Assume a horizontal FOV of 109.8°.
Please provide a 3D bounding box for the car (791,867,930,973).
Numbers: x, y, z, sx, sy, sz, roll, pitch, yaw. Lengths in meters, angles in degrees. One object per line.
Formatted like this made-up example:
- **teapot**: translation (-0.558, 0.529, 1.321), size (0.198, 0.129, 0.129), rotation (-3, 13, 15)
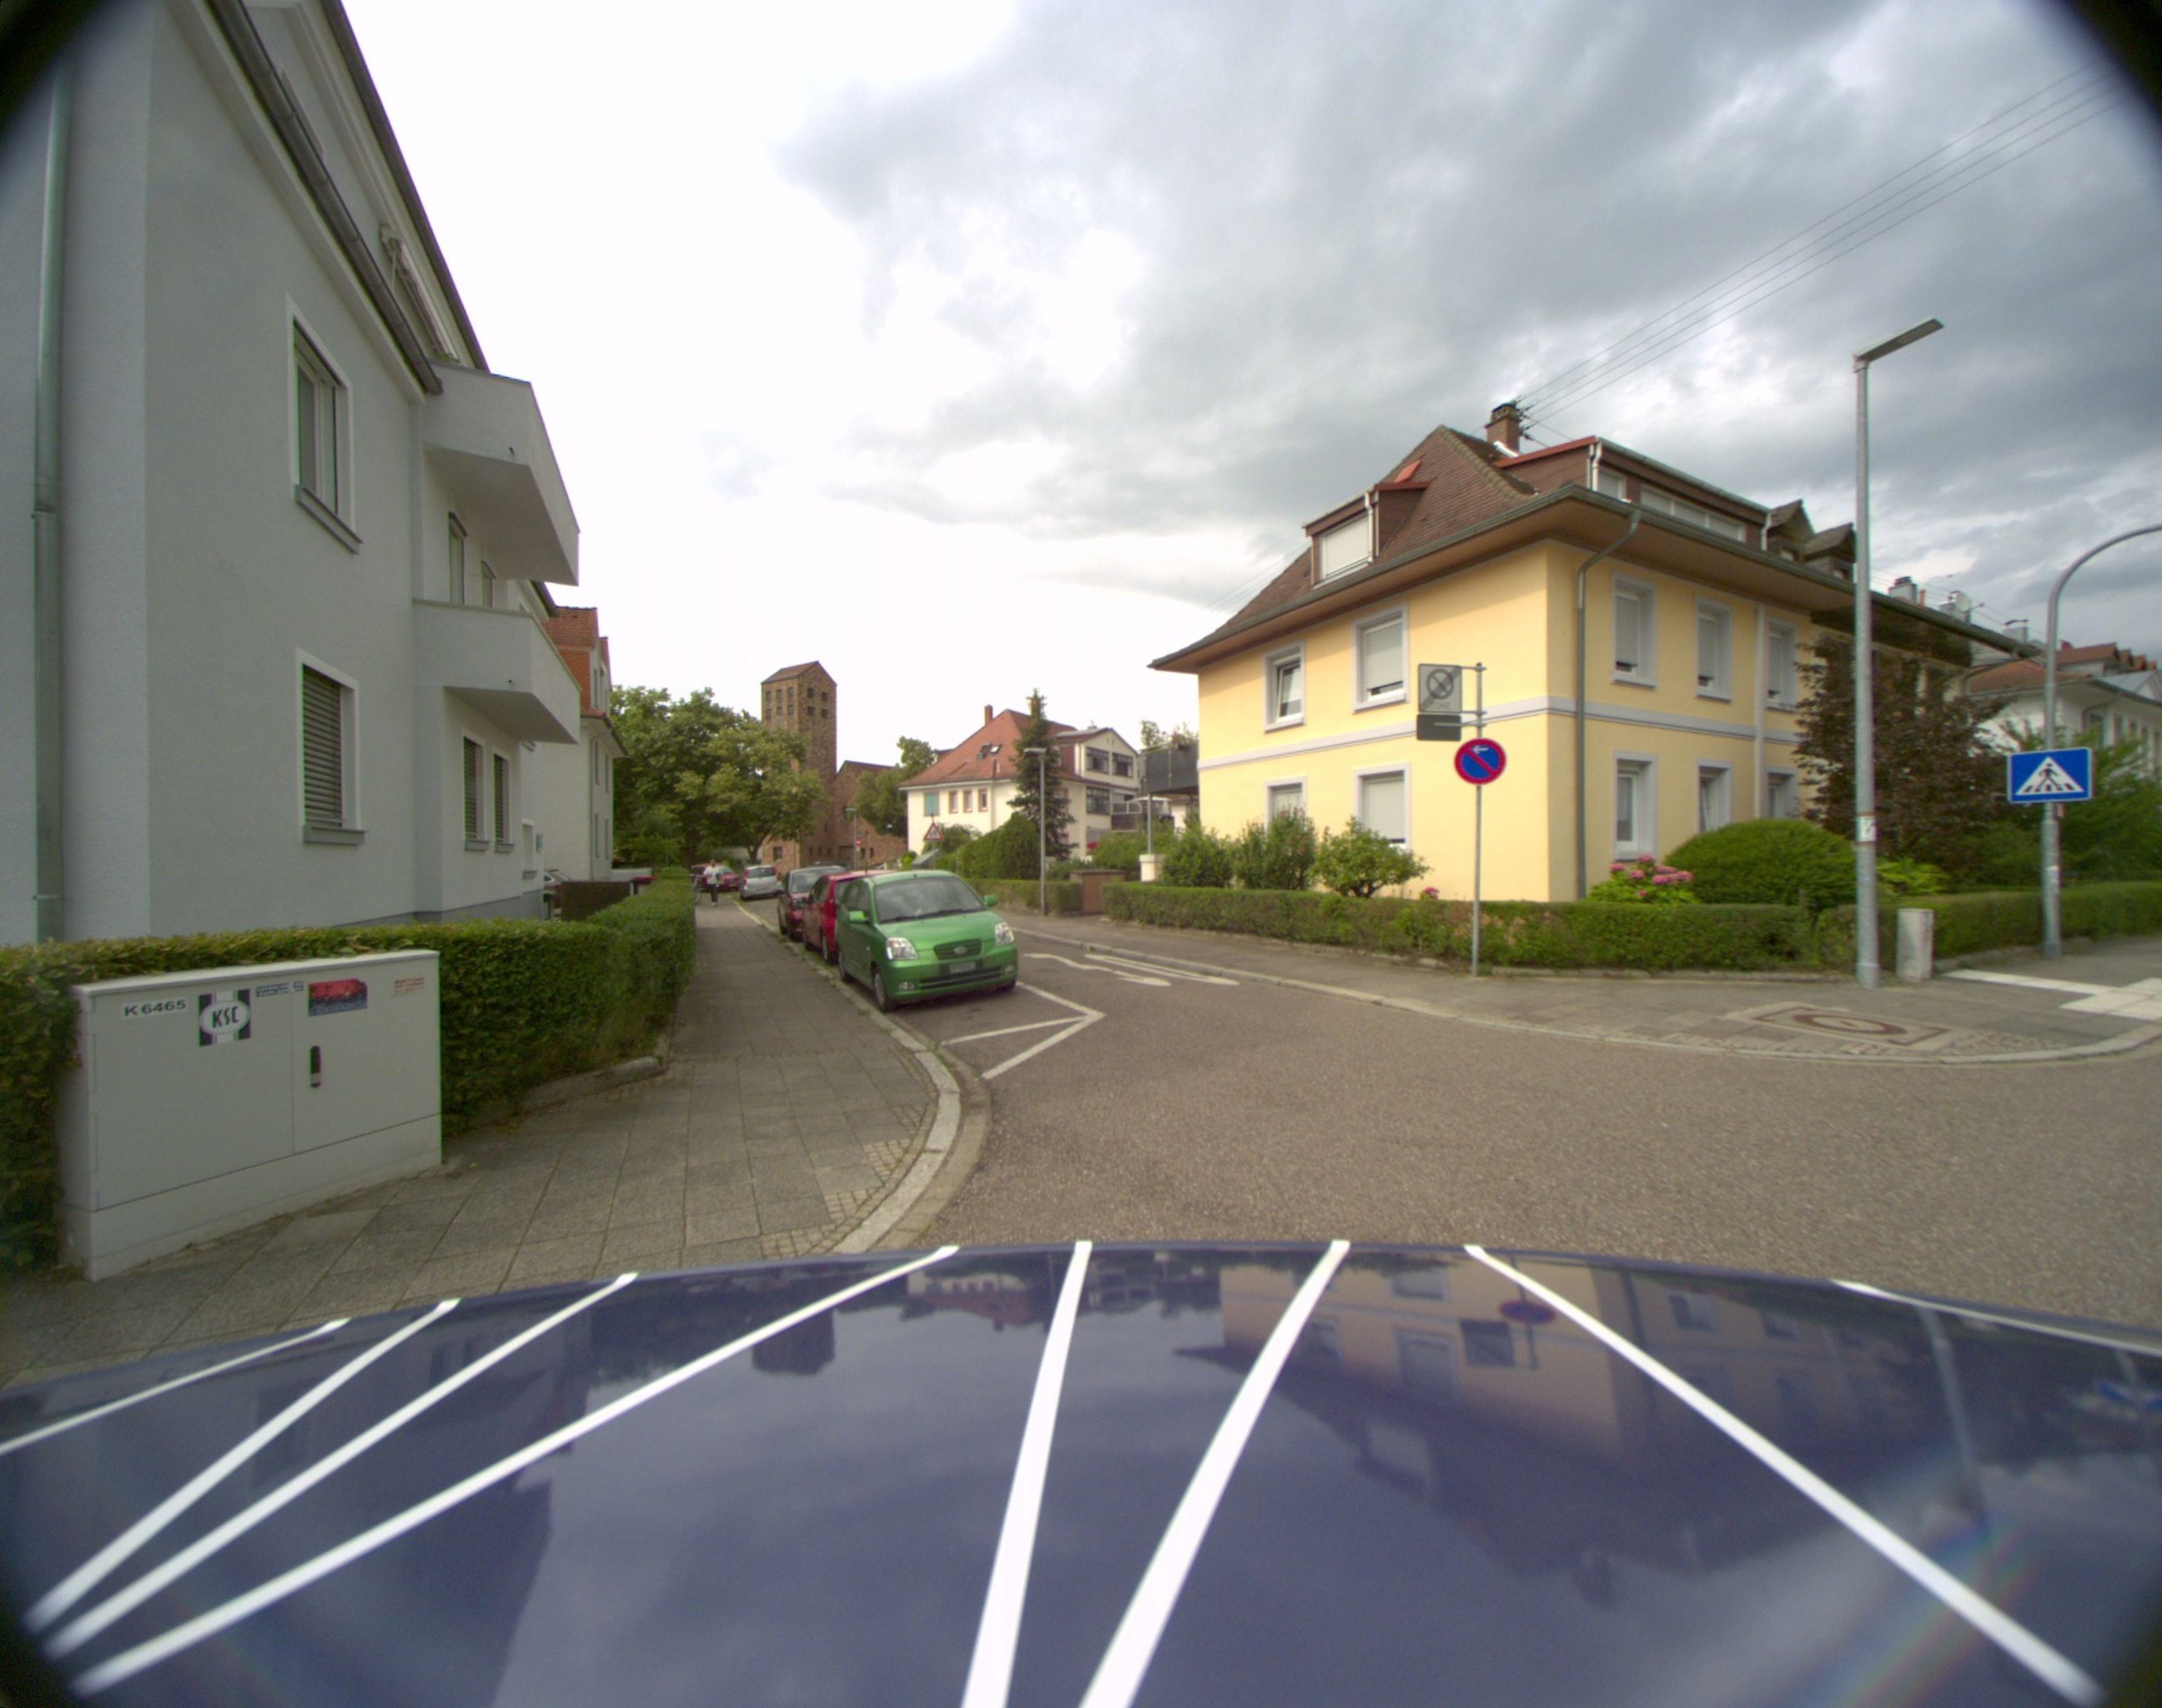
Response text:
- **car**: translation (-4.087, 1.063, 13.716), size (1.653, 1.487, 3.473), rotation (-4, 2, -28)

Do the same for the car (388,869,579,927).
- **car**: translation (-17.064, 1.209, 21.997), size (4.005, 1.455, 1.996), rotation (-1, 0, -26)

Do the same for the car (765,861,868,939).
- **car**: translation (-6.171, 0.955, 17.506), size (1.653, 1.487, 3.473), rotation (-4, 2, -28)

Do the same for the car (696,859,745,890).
- **car**: translation (-19.812, 1.099, 41.705), size (1.653, 1.487, 3.472), rotation (-5, 2, -37)

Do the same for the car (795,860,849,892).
- **car**: translation (-12.686, 1.055, 37.086), size (1.857, 1.472, 4.032), rotation (2, -1, -27)

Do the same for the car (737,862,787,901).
- **car**: translation (-14.324, 1.184, 33.997), size (1.653, 1.487, 3.473), rotation (-4, 2, -28)

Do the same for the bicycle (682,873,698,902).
- **bicycle**: translation (-15.951, 1.357, 30.972), size (0.424, 1.097, 2.110), rotation (-1, 0, -31)

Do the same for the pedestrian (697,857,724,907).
- **pedestrian**: translation (-14.214, 1.044, 29.120), size (0.885, 1.867, 1.076), rotation (-1, 1, -27)

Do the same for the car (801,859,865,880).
- **car**: translation (-18.269, 1.126, 55.941), size (4.234, 1.456, 1.680), rotation (0, 2, -28)

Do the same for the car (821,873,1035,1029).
- **car**: translation (-2.089, 1.031, 9.610), size (1.653, 1.414, 3.473), rotation (-4, 2, -28)
